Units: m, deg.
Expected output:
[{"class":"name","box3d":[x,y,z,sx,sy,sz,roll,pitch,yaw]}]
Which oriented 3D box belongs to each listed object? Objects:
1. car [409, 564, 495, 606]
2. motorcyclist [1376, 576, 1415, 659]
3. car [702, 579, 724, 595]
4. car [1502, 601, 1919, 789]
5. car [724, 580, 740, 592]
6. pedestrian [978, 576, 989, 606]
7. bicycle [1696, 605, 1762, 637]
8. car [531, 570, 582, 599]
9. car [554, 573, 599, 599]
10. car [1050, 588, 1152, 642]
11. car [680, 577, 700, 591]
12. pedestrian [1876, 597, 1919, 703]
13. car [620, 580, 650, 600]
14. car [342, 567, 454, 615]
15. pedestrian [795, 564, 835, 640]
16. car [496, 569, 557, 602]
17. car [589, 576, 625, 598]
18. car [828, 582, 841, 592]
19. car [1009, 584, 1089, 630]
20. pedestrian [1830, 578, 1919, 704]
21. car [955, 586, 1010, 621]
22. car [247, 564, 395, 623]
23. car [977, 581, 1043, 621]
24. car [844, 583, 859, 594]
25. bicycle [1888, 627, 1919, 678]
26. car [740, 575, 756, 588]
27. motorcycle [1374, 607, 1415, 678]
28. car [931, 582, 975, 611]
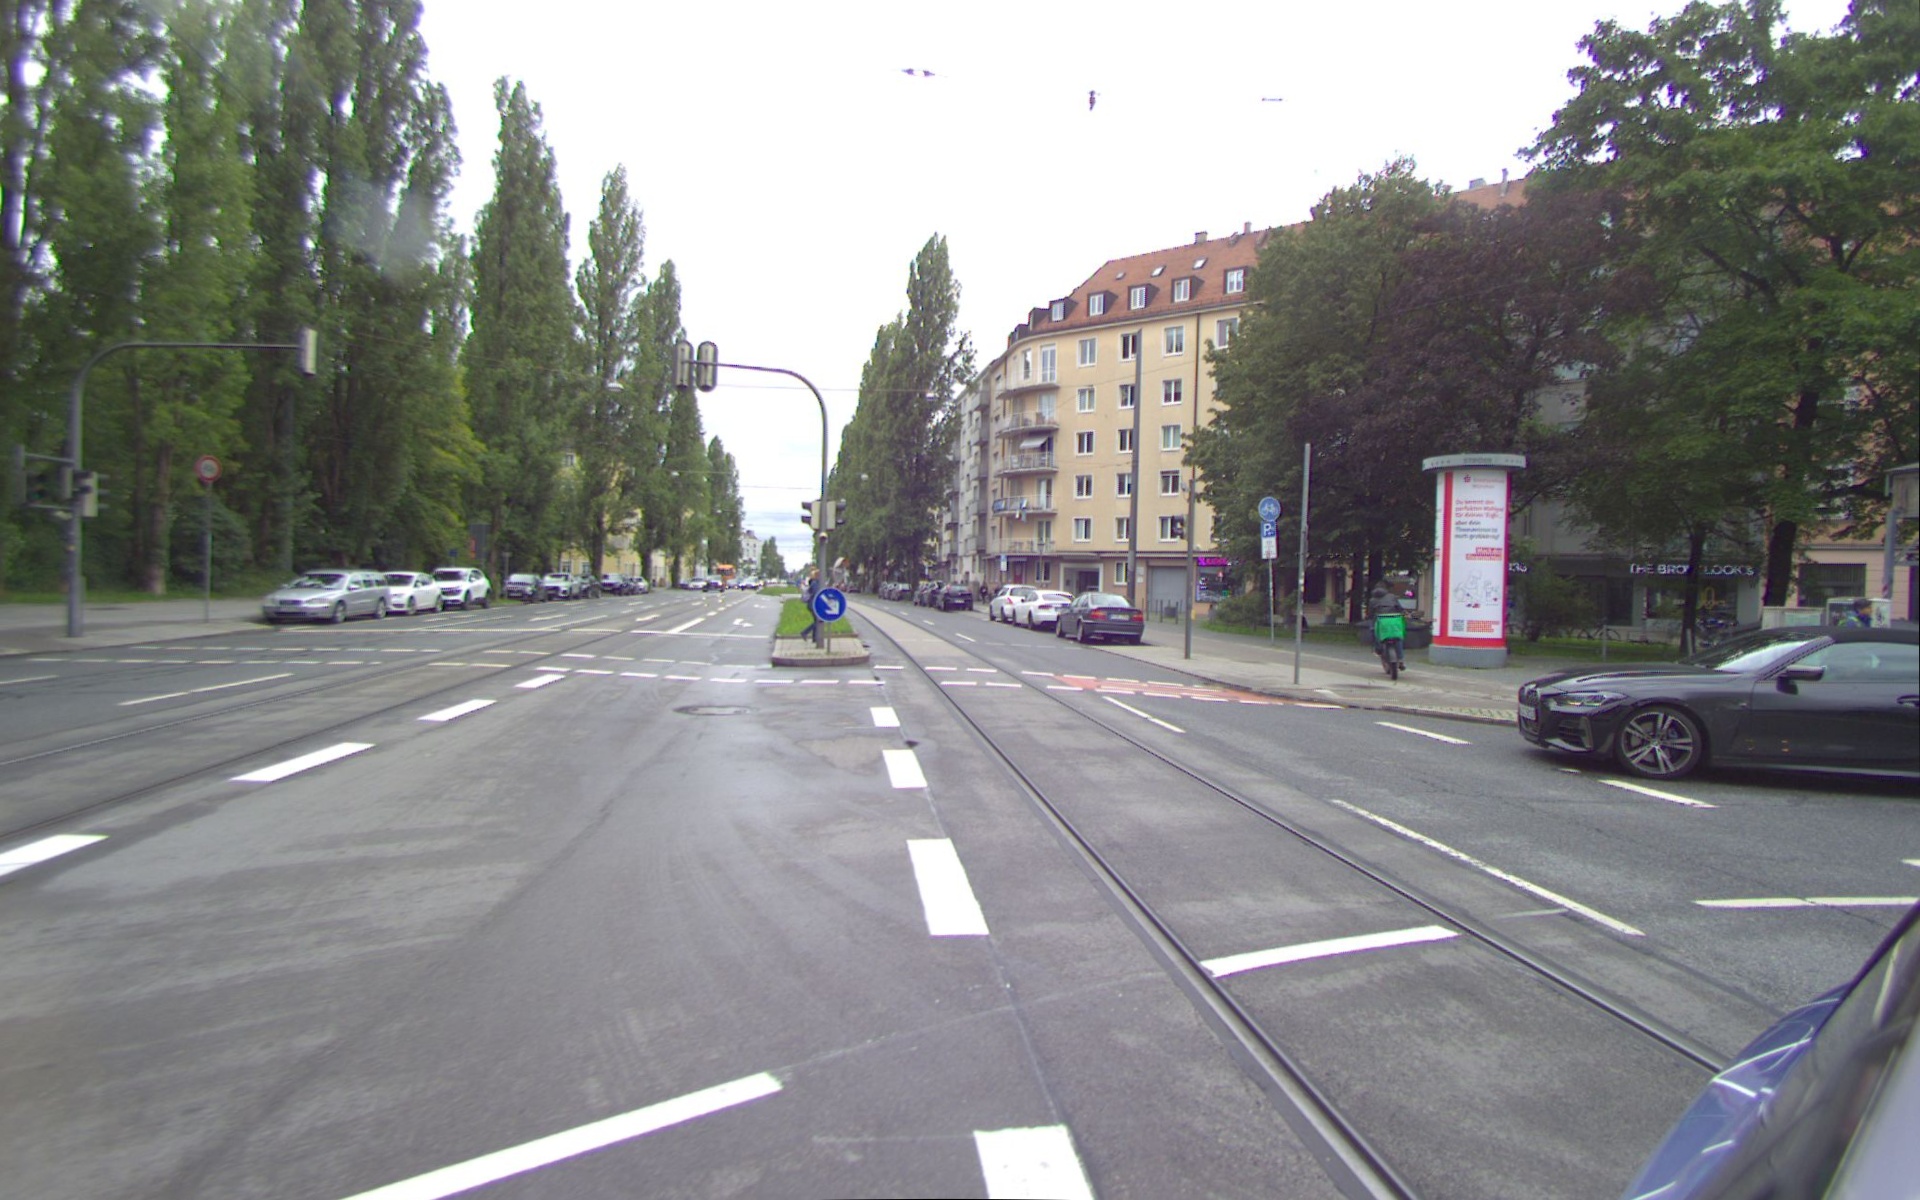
[{"class":"car","box3d":[-19.522,-0.601,39.054,1.750,1.504,4.147,1,1,-9]},{"class":"motorcyclist","box3d":[7.897,0.317,18.347,0.614,1.461,0.874,0,-1,26]},{"class":"car","box3d":[-24.364,-1.325,100.112,1.750,1.504,4.147,1,1,-9]},{"class":"car","box3d":[7.744,0.804,9.082,4.729,1.407,1.722,2,1,15]},{"class":"car","box3d":[-31.392,-1.961,139.413,1.750,1.504,4.147,1,1,-9]},{"class":"pedestrian","box3d":[1.623,-0.628,70.189,0.535,2.039,0.632,1,-1,-14]},{"class":"bicycle","box3d":[33.032,0.886,43.501,2.232,1.306,0.501,0,-1,33]},{"class":"car","box3d":[-22.452,-0.890,56.428,1.750,1.504,4.147,1,1,-9]},{"class":"car","box3d":[-23.463,-0.857,62.014,1.750,1.504,4.147,1,1,-9]},{"class":"car","box3d":[3.881,0.373,28.509,1.695,1.332,4.007,1,1,-9]},{"class":"car","box3d":[-30.902,-1.853,115.760,1.750,1.504,4.147,1,1,-9]},{"class":"pedestrian","box3d":[13.461,0.691,14.164,0.534,1.421,0.722,1,2,-5]},{"class":"car","box3d":[-27.358,-0.864,85.184,1.750,1.504,4.147,1,1,-9]},{"class":"car","box3d":[-18.749,-0.335,33.986,1.751,1.504,4.265,1,1,-6]},{"class":"pedestrian","box3d":[-3.270,0.038,22.814,0.548,1.684,0.693,0,-1,36]},{"class":"car","box3d":[-21.227,-0.725,49.726,1.750,1.504,4.147,1,1,-9]},{"class":"car","box3d":[-25.611,-0.929,73.518,1.750,1.504,4.147,1,1,-9]},{"class":"car","box3d":[-22.376,-2.313,180.750,1.958,1.728,4.007,1,-1,-11]},{"class":"car","box3d":[2.991,0.195,34.846,1.695,1.424,4.383,1,1,-9]},{"class":"pedestrian","box3d":[12.834,0.552,14.172,0.534,1.680,0.722,1,4,-5]},{"class":"car","box3d":[0.955,0.129,45.869,1.695,1.424,4.383,1,1,-9]},{"class":"car","box3d":[-17.782,-0.216,28.418,1.750,1.504,4.358,1,1,-6]},{"class":"car","box3d":[1.915,-0.012,40.194,1.695,1.424,4.383,1,1,-9]},{"class":"car","box3d":[-14.974,-1.562,139.375,1.780,1.488,4.007,1,-1,-11]},{"class":"bicycle","box3d":[19.992,1.077,20.149,0.617,1.029,2.244,1,-1,-15]},{"class":"car","box3d":[-26.457,-2.326,126.359,1.750,1.504,4.147,1,1,-9]},{"class":"motorcycle","box3d":[7.922,0.732,18.415,0.624,1.184,2.012,0,0,25]},{"class":"car","box3d":[-0.441,-0.213,55.499,1.695,1.424,4.483,1,1,-9]}]
